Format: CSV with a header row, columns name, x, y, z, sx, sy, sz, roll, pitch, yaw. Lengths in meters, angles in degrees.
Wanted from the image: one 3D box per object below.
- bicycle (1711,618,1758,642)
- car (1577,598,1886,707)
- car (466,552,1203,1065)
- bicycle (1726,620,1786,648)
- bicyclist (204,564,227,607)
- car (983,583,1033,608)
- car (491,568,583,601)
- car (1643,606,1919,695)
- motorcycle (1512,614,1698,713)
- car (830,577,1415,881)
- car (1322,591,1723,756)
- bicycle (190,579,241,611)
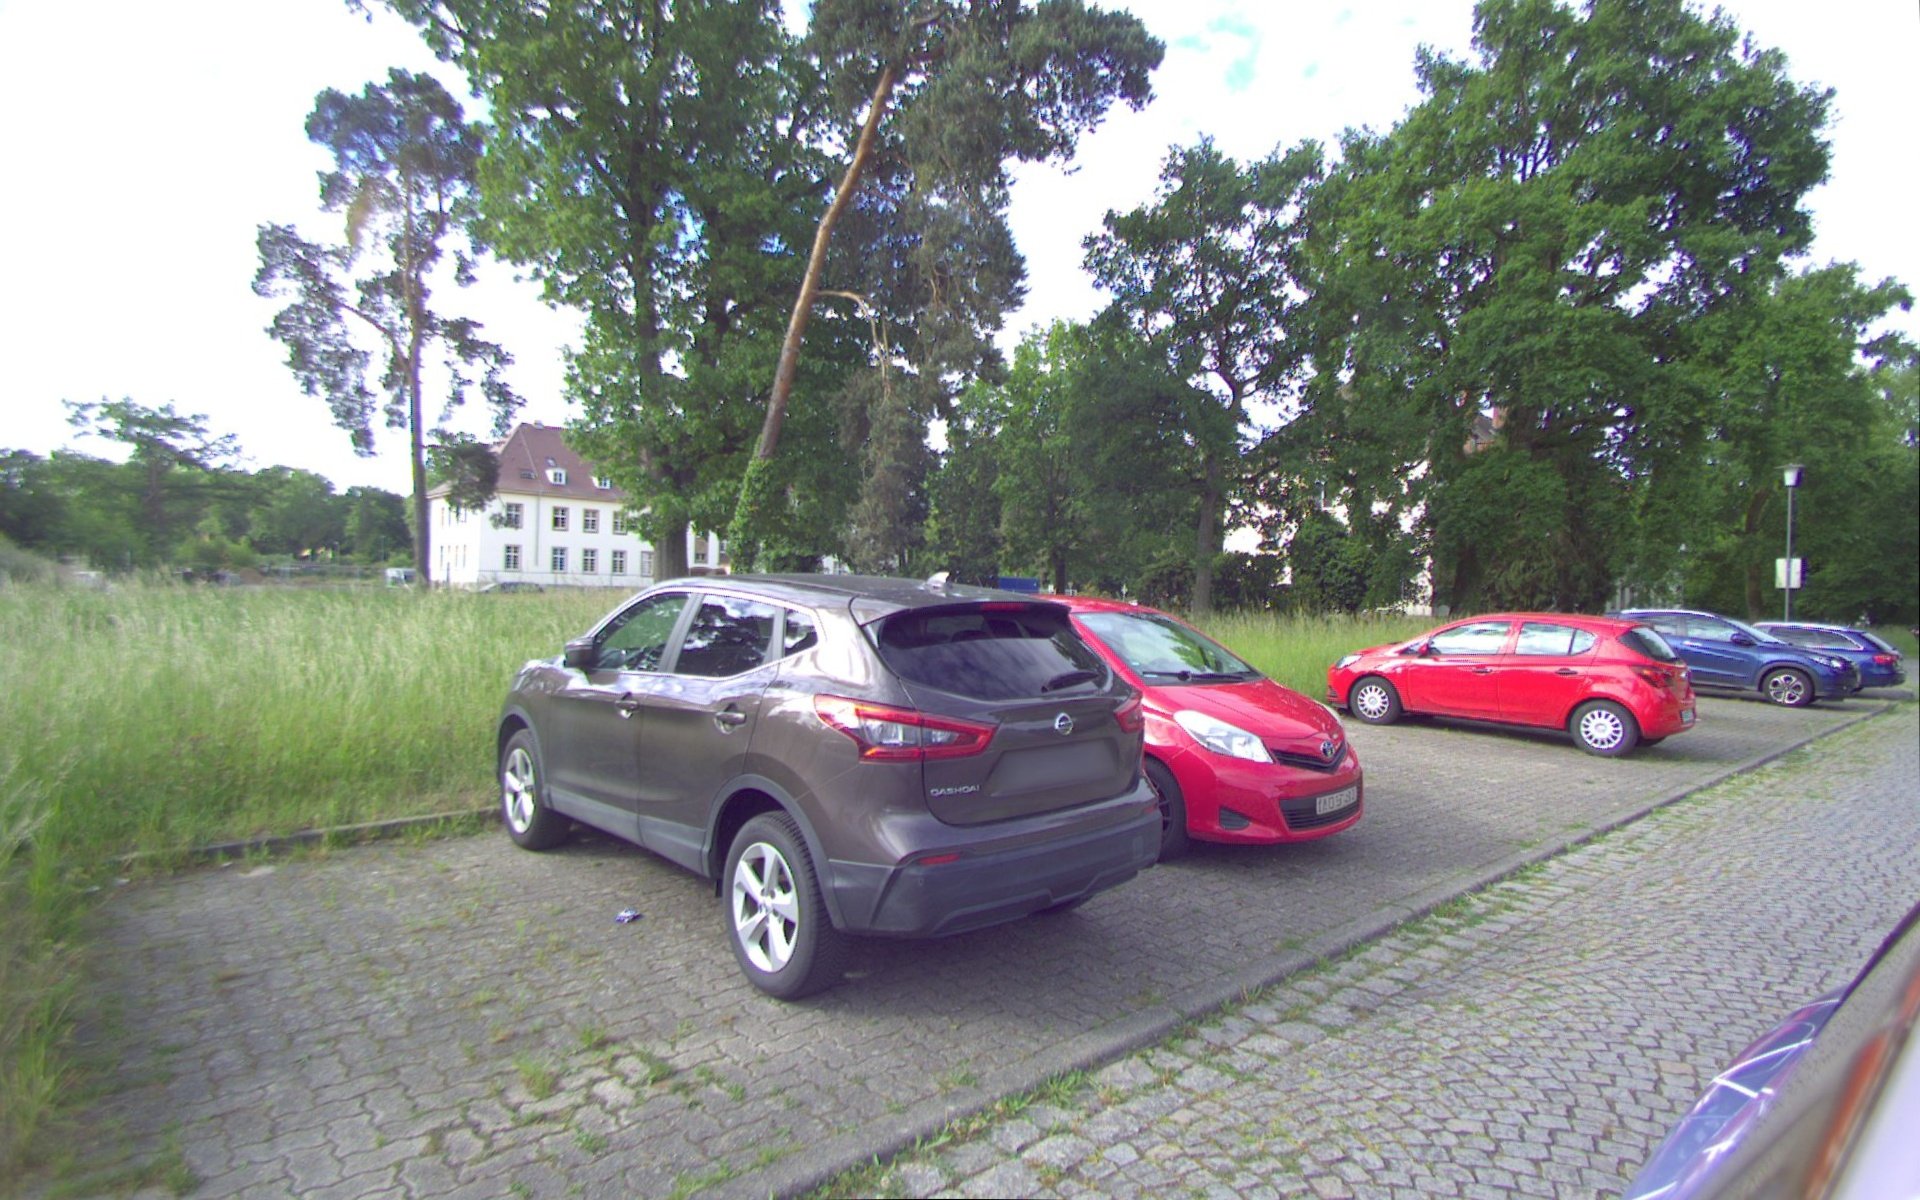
name,x,y,z,sx,sy,sz,roll,pitch,yaw
bicycle,38.366,1.487,50.125,1.734,1.101,0.548,2,3,27
car,14.201,0.880,18.831,1.862,1.593,4.271,2,1,-41
car,-0.945,0.621,5.199,1.732,1.600,3.954,1,0,-44
bicycle,35.036,1.482,44.571,1.999,1.101,0.474,2,2,27
bicyclist,-35.481,-0.686,48.222,0.833,2.039,0.658,1,-1,-41
car,4.010,-0.343,83.845,4.012,2.039,1.783,0,0,-41
car,-23.443,-0.837,56.170,4.323,1.723,1.972,0,0,-41
car,17.747,1.012,21.908,1.860,1.483,4.518,2,2,-38
motorcycle,9.665,0.902,15.241,2.265,1.291,0.596,3,1,44
car,0.902,0.647,7.308,1.708,1.537,3.994,1,0,-41
car,6.586,0.738,12.157,1.708,1.524,3.845,2,1,-42
bicycle,-35.482,-0.240,48.227,1.900,1.498,0.654,0,0,-41
